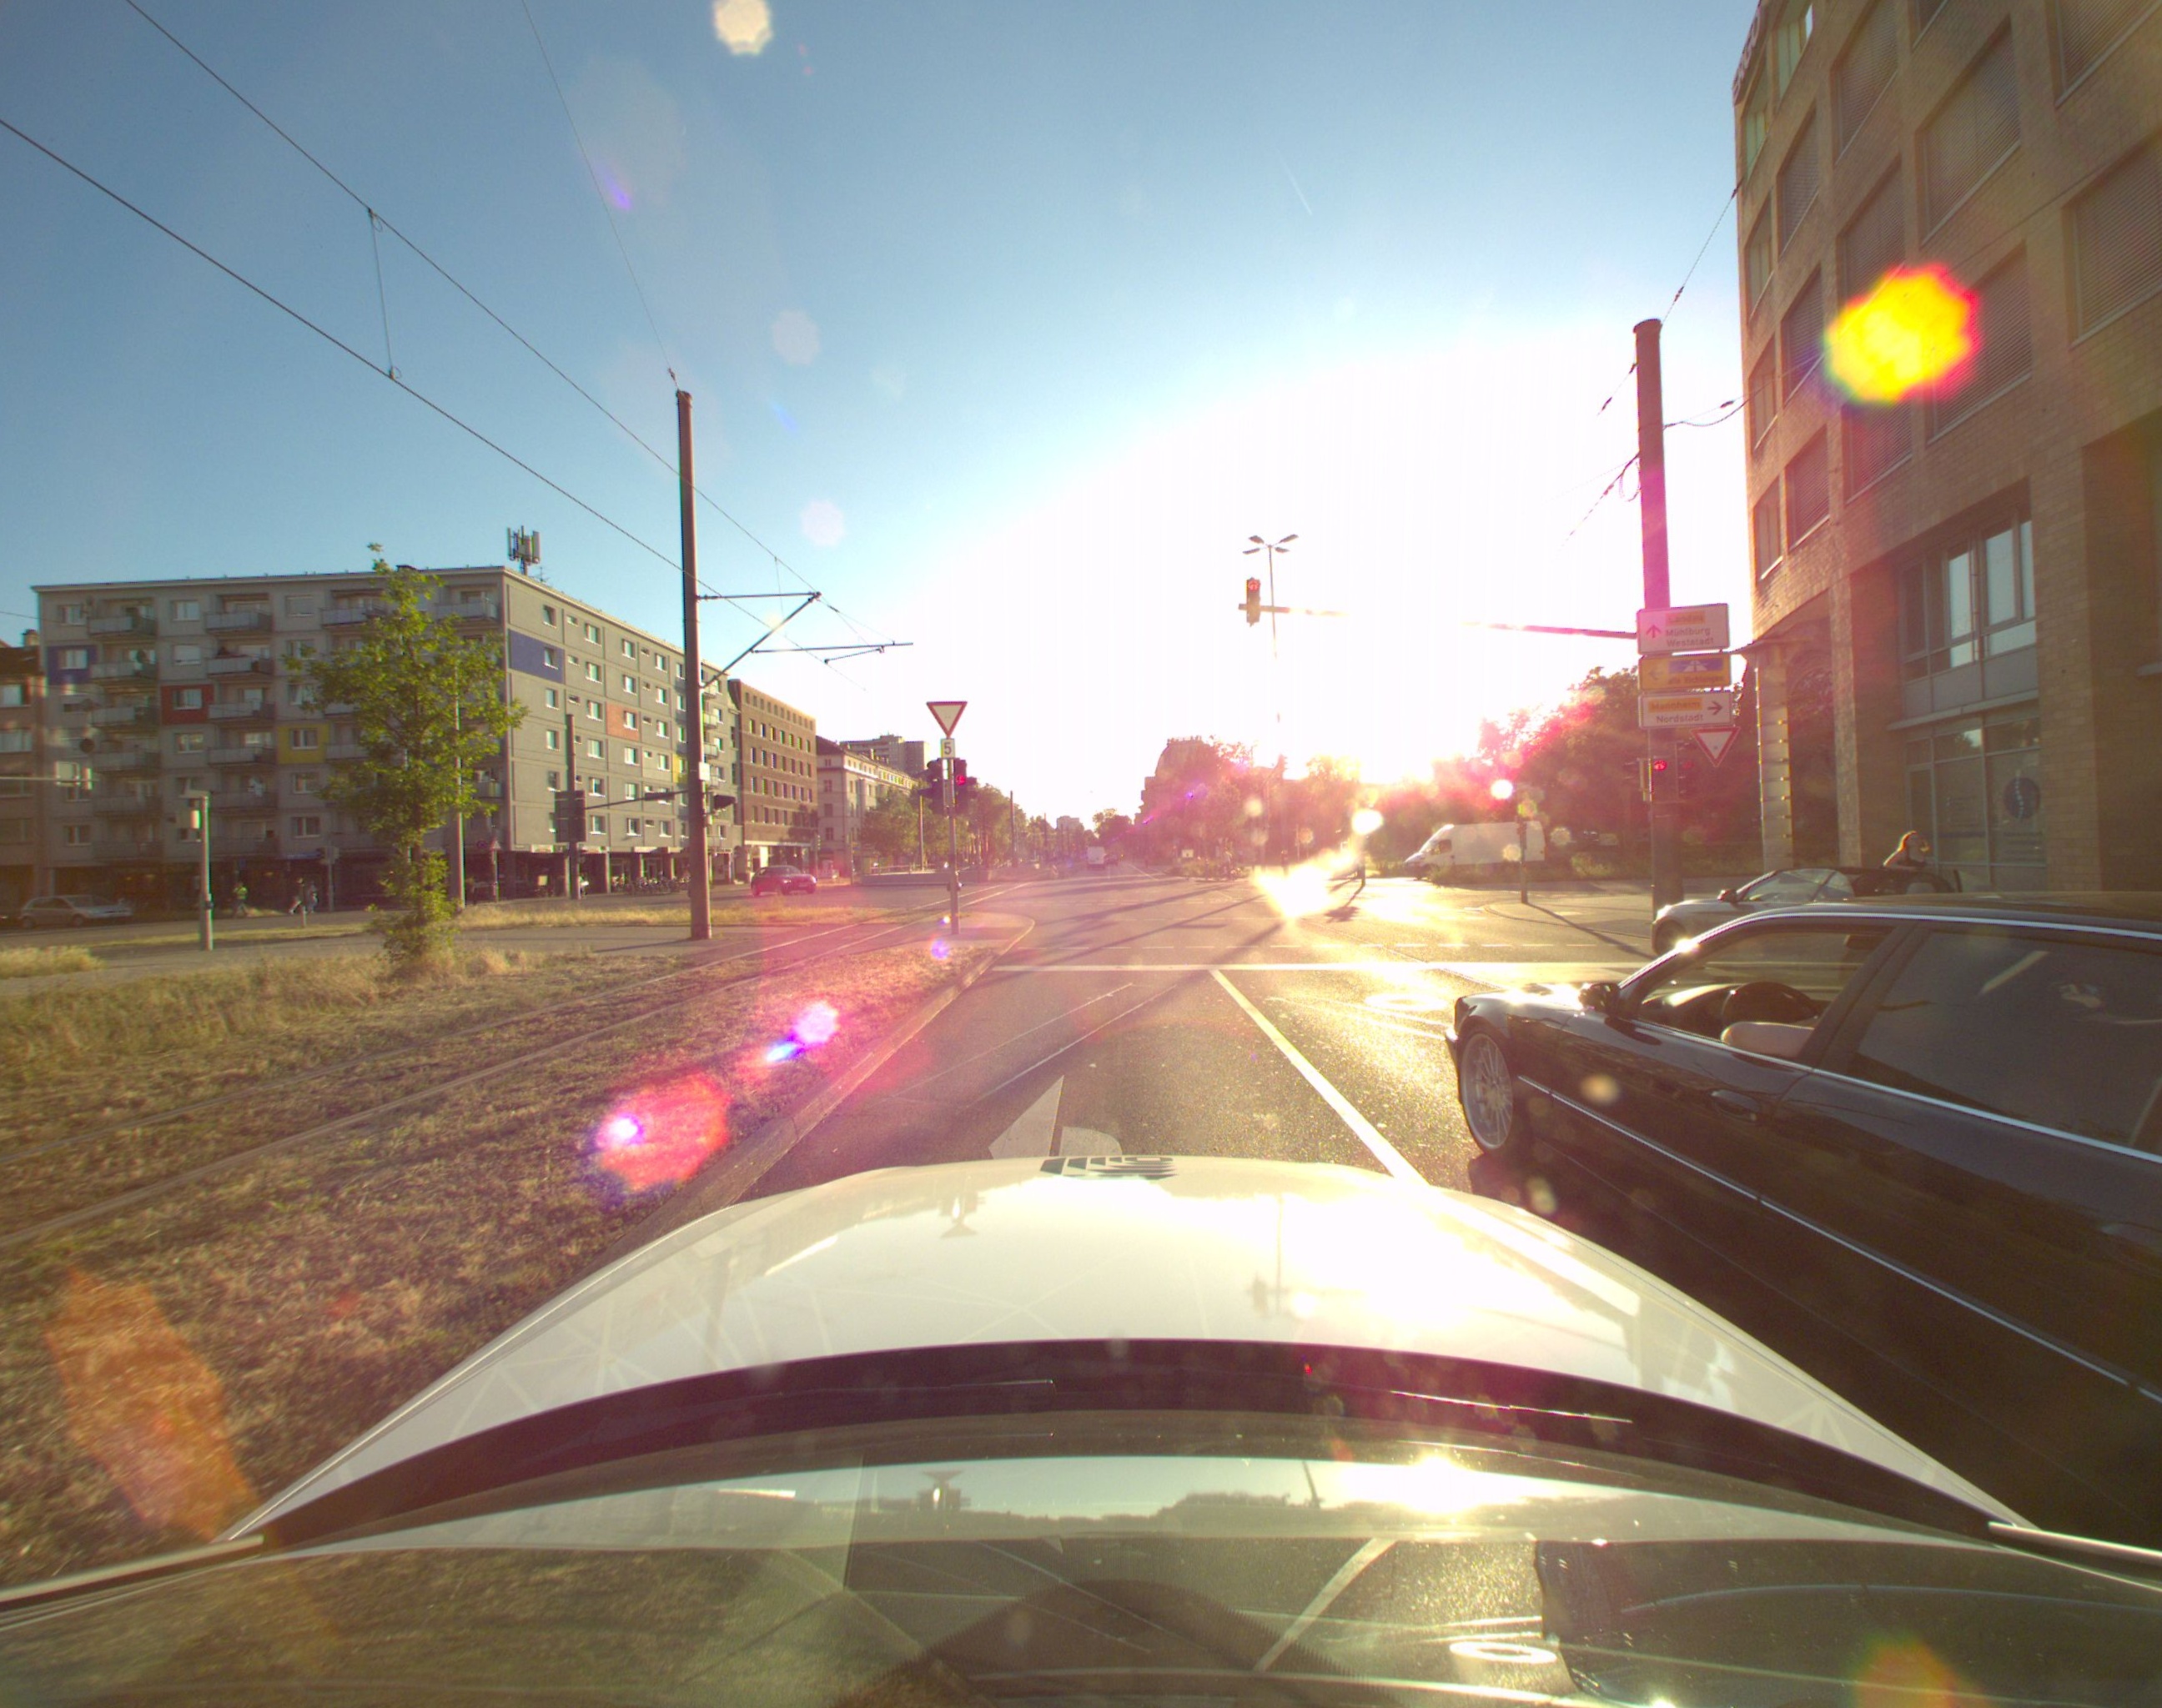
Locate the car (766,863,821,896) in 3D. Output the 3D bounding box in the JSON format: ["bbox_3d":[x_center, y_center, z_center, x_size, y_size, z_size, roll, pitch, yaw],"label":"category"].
[{"bbox_3d":[-14.084,1.217,39.755,1.724,1.434,3.960,-2,1,-32],"label":"car"}]

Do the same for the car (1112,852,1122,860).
[{"bbox_3d":[7.453,0.387,169.065,1.789,1.566,3.997,-2,1,-2],"label":"car"}]

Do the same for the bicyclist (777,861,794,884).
[{"bbox_3d":[-18.737,1.156,51.627,0.845,1.442,0.667,1,1,37],"label":"bicyclist"}]

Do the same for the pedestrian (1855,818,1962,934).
[{"bbox_3d":[11.747,0.298,11.587,0.675,1.569,0.800,-2,1,0],"label":"pedestrian"}]

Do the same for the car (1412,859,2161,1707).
[{"bbox_3d":[2.777,0.751,2.423,1.823,1.354,4.643,-1,1,2],"label":"car"}]

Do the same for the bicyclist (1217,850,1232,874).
[{"bbox_3d":[8.860,0.486,50.157,0.848,1.442,0.665,-2,1,8],"label":"bicyclist"}]

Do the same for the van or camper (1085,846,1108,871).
[{"bbox_3d":[1.741,0.456,90.328,2.254,2.624,4.506,-2,1,3],"label":"van or camper"}]

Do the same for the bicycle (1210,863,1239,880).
[{"bbox_3d":[8.855,1.056,50.169,1.708,0.970,0.611,-1,1,8],"label":"bicycle"}]

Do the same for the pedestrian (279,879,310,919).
[{"bbox_3d":[-38.316,2.176,39.674,0.702,1.851,0.737,-2,1,2],"label":"pedestrian"}]

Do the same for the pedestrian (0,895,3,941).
[{"bbox_3d":[-39.069,2.306,28.966,0.512,1.629,0.616,-2,1,2],"label":"pedestrian"}]

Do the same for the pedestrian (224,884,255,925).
[{"bbox_3d":[-39.232,2.359,37.955,0.631,1.847,0.682,-2,1,2],"label":"pedestrian"}]

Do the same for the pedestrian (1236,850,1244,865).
[{"bbox_3d":[17.217,0.364,88.025,0.679,1.611,0.613,-2,1,2],"label":"pedestrian"}]

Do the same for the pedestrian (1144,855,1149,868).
[{"bbox_3d":[7.787,0.925,96.804,0.613,1.475,0.802,-2,1,6],"label":"pedestrian"}]

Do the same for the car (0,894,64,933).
[{"bbox_3d":[-49.860,2.772,37.369,3.857,1.585,1.801,-2,1,-4],"label":"car"}]

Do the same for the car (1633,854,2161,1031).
[{"bbox_3d":[8.192,0.714,8.701,1.777,1.354,4.268,-1,1,1],"label":"car"}]

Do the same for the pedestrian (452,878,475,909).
[{"bbox_3d":[-34.329,2.183,45.257,0.731,1.669,0.788,-2,1,38],"label":"pedestrian"}]

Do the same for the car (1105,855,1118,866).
[{"bbox_3d":[4.409,0.928,116.596,1.730,1.385,4.003,-2,1,3],"label":"car"}]

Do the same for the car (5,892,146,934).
[{"bbox_3d":[-45.558,2.665,36.968,3.857,1.585,1.801,-2,1,-4],"label":"car"}]

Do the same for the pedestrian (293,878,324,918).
[{"bbox_3d":[-37.567,2.141,39.611,0.600,1.847,0.823,-2,1,2],"label":"pedestrian"}]

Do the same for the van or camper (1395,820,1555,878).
[{"bbox_3d":[20.402,-0.282,42.491,7.011,2.674,2.601,-2,1,4],"label":"van or camper"}]

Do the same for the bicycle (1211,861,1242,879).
[{"bbox_3d":[8.617,0.948,48.266,1.719,0.970,0.611,-1,1,6],"label":"bicycle"}]

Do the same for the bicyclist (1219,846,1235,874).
[{"bbox_3d":[8.641,0.359,48.255,0.793,1.571,0.664,-2,1,6],"label":"bicyclist"}]
